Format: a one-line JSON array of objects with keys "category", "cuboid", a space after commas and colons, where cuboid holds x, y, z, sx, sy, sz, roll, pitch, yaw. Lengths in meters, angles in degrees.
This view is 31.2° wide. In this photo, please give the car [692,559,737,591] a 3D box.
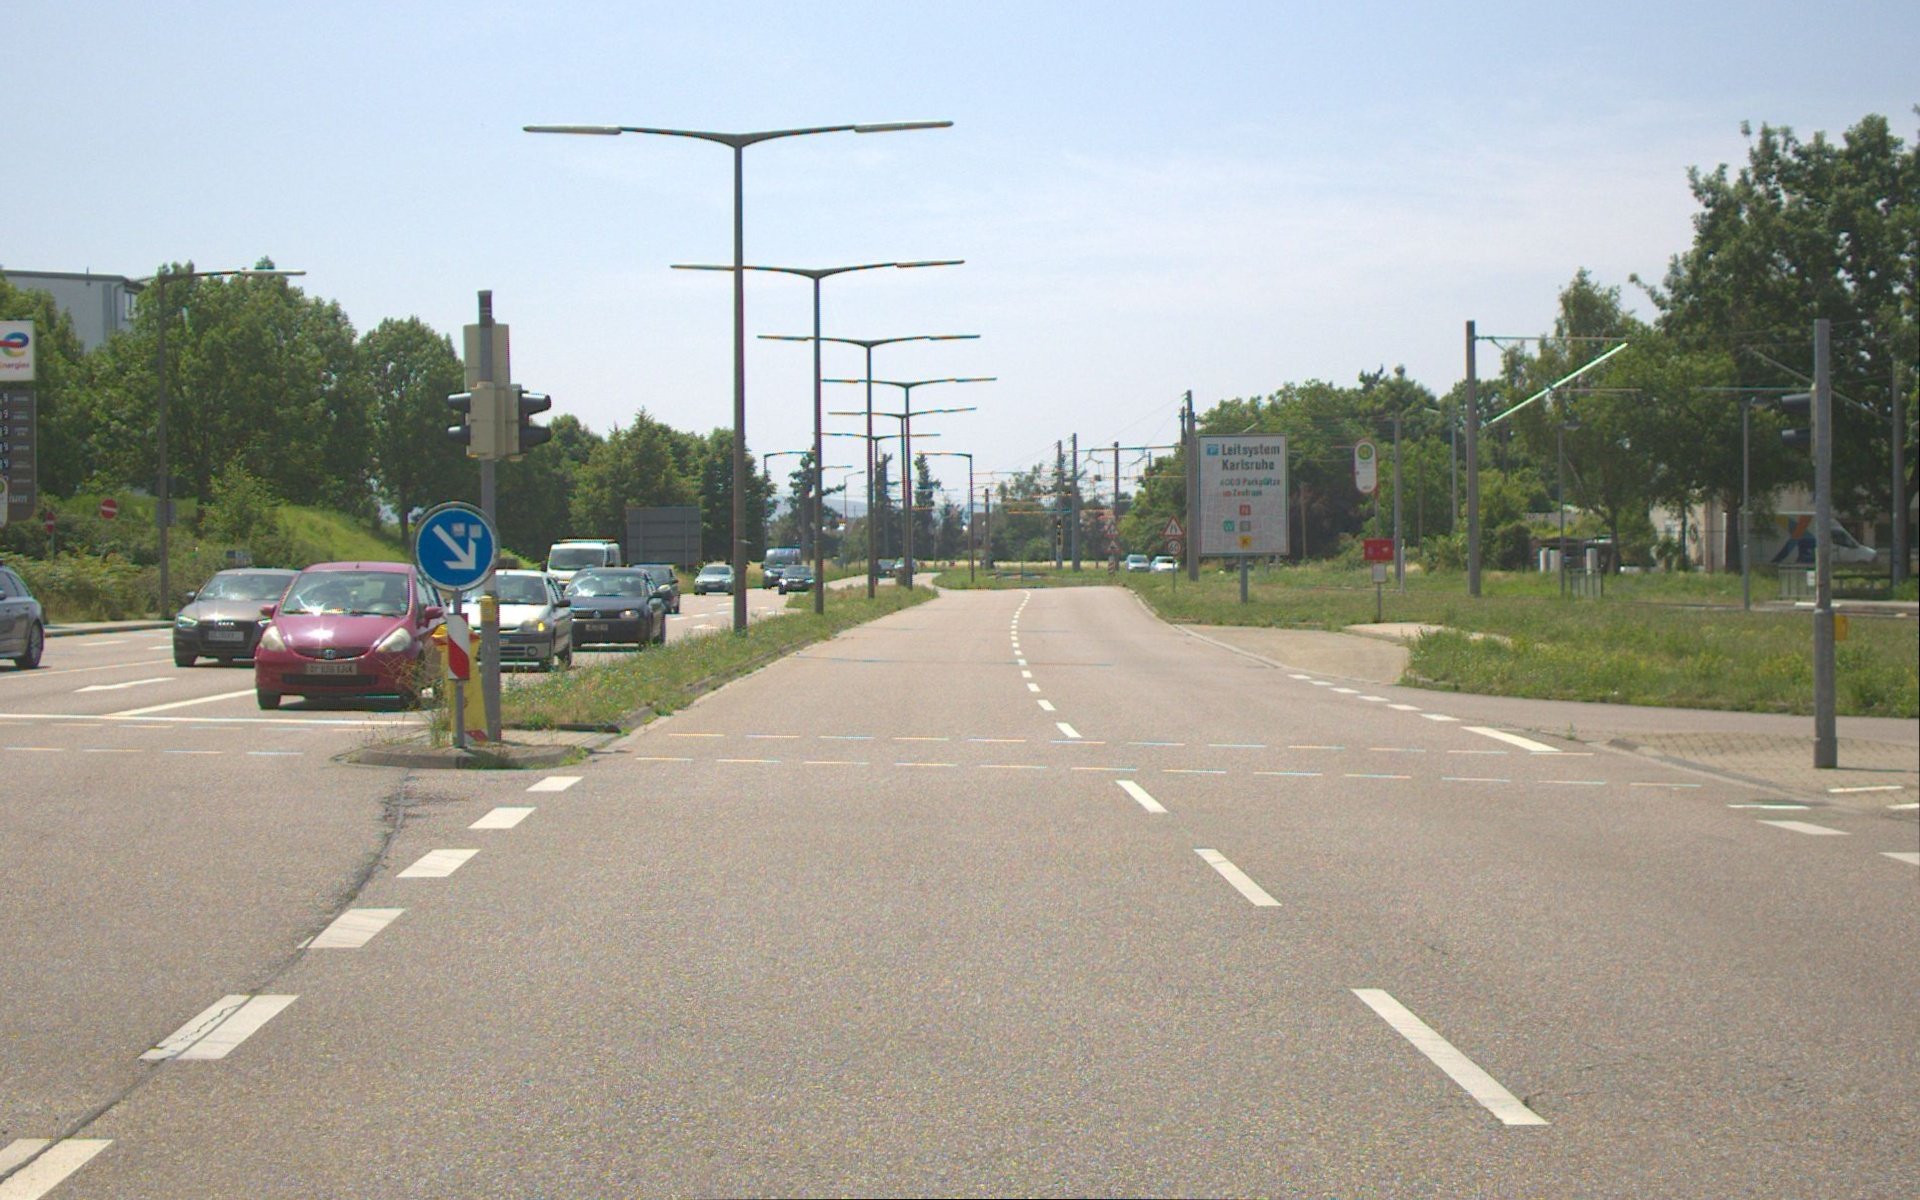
[{"category": "car", "cuboid": [-11.650, -1.192, 163.438, 1.831, 1.444, 4.851, -1, 1, -1]}]

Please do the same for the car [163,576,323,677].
[{"category": "car", "cuboid": [-10.521, 0.363, 50.665, 1.596, 1.380, 4.004, 1, 1, -1]}]

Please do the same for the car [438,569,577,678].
[{"category": "car", "cuboid": [-6.417, 0.306, 49.009, 1.560, 1.418, 3.854, 0, 1, -1]}]

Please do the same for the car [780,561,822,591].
[{"category": "car", "cuboid": [-7.874, -1.197, 170.563, 1.731, 1.453, 4.564, 0, 1, 1]}]

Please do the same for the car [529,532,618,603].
[{"category": "car", "cuboid": [-12.818, -1.093, 114.403, 2.249, 2.265, 5.449, 1, 0, 1]}]

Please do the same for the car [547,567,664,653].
[{"category": "car", "cuboid": [-6.190, 0.156, 60.345, 1.675, 1.429, 4.191, 0, 1, -1]}]

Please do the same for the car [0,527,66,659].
[{"category": "car", "cuboid": [-13.640, -0.103, 46.371, 1.964, 1.744, 5.022, 0, 1, -1]}]

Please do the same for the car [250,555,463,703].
[{"category": "car", "cuboid": [-6.390, 0.268, 36.775, 1.658, 1.485, 4.000, 0, 1, -1]}]

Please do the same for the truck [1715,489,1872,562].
[{"category": "truck", "cuboid": [34.755, -3.091, 143.411, 5.839, 2.833, 2.321, -2, 0, -7]}]
